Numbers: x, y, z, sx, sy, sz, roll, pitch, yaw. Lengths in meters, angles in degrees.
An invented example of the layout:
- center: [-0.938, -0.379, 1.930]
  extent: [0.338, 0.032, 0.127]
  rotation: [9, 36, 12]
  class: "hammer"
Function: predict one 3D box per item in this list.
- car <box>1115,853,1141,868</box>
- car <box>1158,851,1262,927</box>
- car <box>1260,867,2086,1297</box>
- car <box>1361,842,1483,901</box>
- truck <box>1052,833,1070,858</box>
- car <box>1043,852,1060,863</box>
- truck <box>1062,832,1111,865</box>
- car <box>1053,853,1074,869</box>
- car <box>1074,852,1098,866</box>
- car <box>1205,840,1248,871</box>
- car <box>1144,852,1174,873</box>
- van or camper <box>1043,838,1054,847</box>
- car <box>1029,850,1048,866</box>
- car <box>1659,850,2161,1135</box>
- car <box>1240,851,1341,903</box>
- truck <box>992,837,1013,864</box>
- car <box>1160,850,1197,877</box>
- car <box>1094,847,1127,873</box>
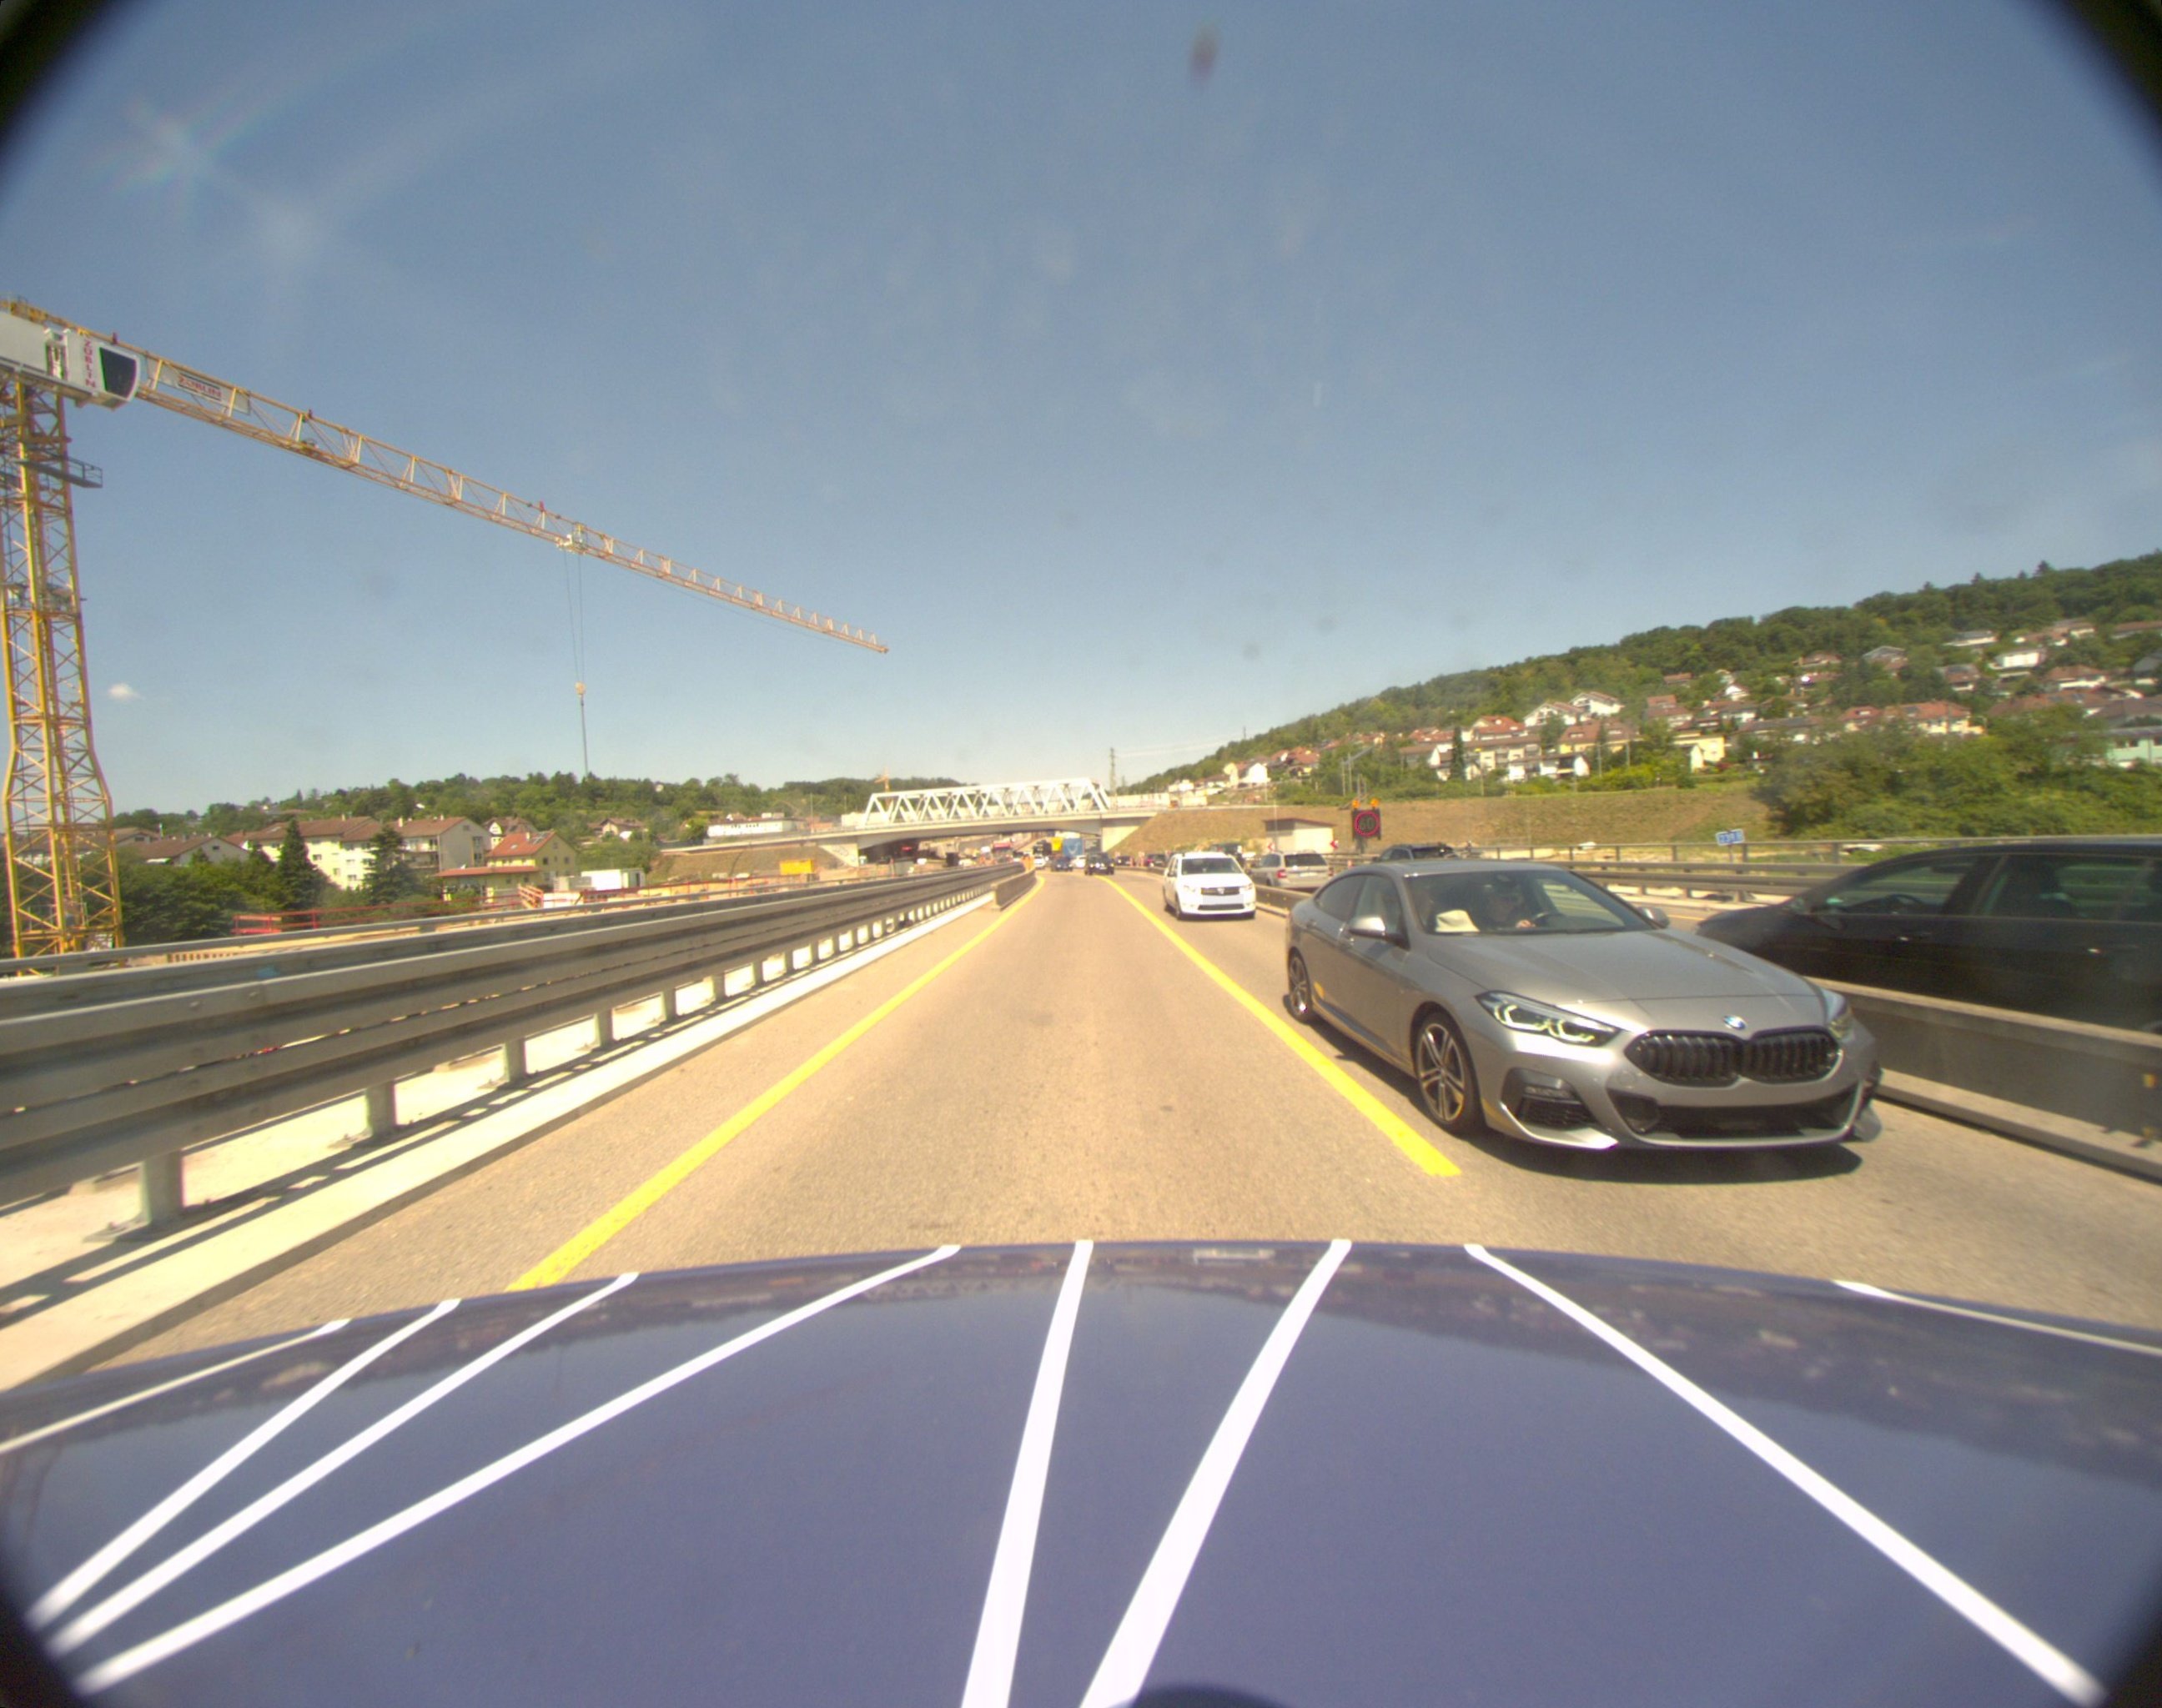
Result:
- center: [4.325, 0.594, 70.732]
  extent: [1.865, 1.314, 4.686]
  rotation: [0, 0, -4]
  class: "car"
- center: [2.979, 0.732, 18.506]
  extent: [1.823, 1.521, 4.706]
  rotation: [-2, 1, 2]
  class: "car"
- center: [2.718, 0.869, 5.132]
  extent: [1.856, 1.443, 4.742]
  rotation: [-1, 0, 0]
  class: "car"
- center: [10.052, 0.477, 22.732]
  extent: [1.818, 1.560, 4.000]
  rotation: [-1, 0, -1]
  class: "car"
- center: [-3.745, -1.462, 142.490]
  extent: [3.173, 4.531, 12.083]
  rotation: [0, 0, -1]
  class: "truck"
- center: [-4.310, 0.439, 111.953]
  extent: [1.908, 1.453, 4.188]
  rotation: [-1, 2, -10]
  class: "car"
- center: [0.533, -0.802, 107.210]
  extent: [3.271, 4.112, 17.314]
  rotation: [-4, 1, -11]
  class: "truck"
- center: [-1.944, 0.765, 83.165]
  extent: [1.792, 1.578, 3.998]
  rotation: [-5, 0, -7]
  class: "car"
- center: [0.528, 0.648, 90.460]
  extent: [2.017, 1.515, 4.191]
  rotation: [-1, -1, -11]
  class: "car"
- center: [9.860, 0.112, 51.898]
  extent: [1.928, 1.922, 4.938]
  rotation: [-3, 0, 0]
  class: "car"
- center: [5.804, 0.629, 56.988]
  extent: [1.745, 1.464, 4.085]
  rotation: [-1, 0, 0]
  class: "car"
- center: [-7.567, -2.646, 175.223]
  extent: [2.332, 2.068, 5.424]
  rotation: [-2, 1, -5]
  class: "van or camper"
- center: [-5.656, 0.543, 101.210]
  extent: [1.793, 1.870, 3.996]
  rotation: [-4, 0, -12]
  class: "car"
- center: [6.103, 0.671, 4.858]
  extent: [1.683, 1.384, 4.156]
  rotation: [0, 0, 0]
  class: "car"
- center: [6.233, 0.640, 23.160]
  extent: [1.830, 1.410, 4.657]
  rotation: [0, 0, 0]
  class: "car"
- center: [-11.326, -0.529, 108.693]
  extent: [2.704, 3.704, 8.501]
  rotation: [0, 0, -8]
  class: "truck"
- center: [6.037, 0.550, 47.472]
  extent: [1.745, 1.573, 4.084]
  rotation: [-1, 1, -1]
  class: "car"
- center: [2.107, 0.444, 55.851]
  extent: [1.863, 1.683, 4.096]
  rotation: [-5, 0, -4]
  class: "car"
